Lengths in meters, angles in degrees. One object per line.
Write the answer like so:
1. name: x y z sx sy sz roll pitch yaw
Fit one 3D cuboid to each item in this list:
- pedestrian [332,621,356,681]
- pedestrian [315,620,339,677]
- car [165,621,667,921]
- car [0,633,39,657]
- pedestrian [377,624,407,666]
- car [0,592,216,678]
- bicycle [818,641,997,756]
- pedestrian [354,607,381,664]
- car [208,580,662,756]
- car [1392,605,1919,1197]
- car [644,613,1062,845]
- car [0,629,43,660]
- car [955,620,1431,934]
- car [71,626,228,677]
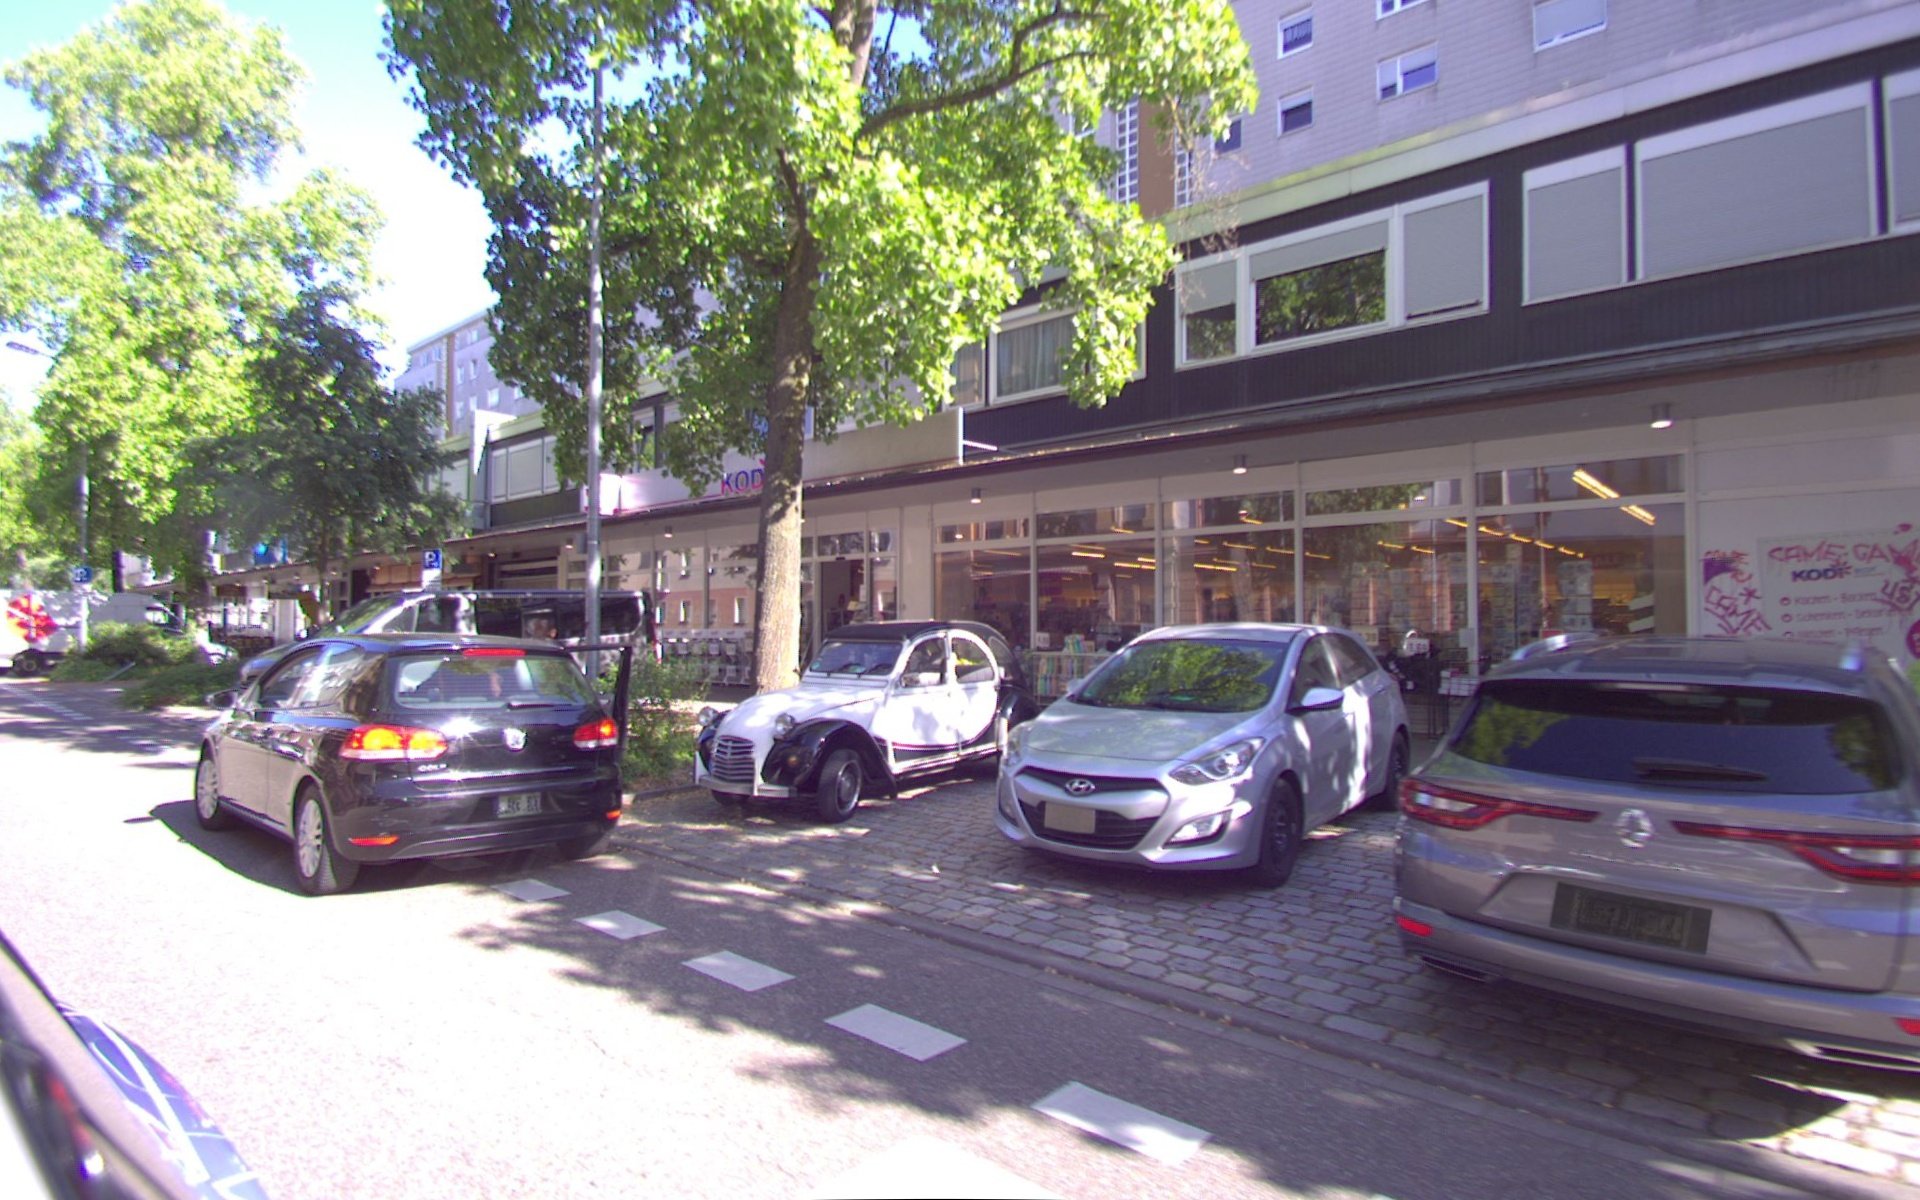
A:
1. pedestrian: -20.284 1.661 33.334 0.590 1.950 0.589 1 -2 -27
2. pedestrian: -19.358 1.469 30.946 0.577 1.725 0.602 1 -2 -33
3. car: -3.872 0.897 6.909 3.959 1.449 1.744 -1 -3 42
4. car: -57.221 2.656 59.801 1.758 1.409 3.947 -2 -2 39
5. pedestrian: -18.775 1.479 33.425 0.953 1.351 0.558 -2 -2 39
6. car: -27.547 1.068 31.924 1.985 2.493 6.559 -1 -1 20
7. bicycle: -0.601 1.101 11.733 1.953 1.193 0.630 -1 -1 -23
8. pedestrian: -20.018 1.192 34.207 0.579 1.918 0.588 -2 -3 40
9. car: -6.998 0.796 14.047 2.014 1.989 5.237 -2 -1 41
10. car: 3.617 0.794 4.469 1.762 1.471 4.257 -2 -1 43
11. car: -0.752 0.912 8.864 1.681 1.564 3.565 -1 -1 37
12. car: -64.075 2.950 66.898 1.908 1.984 4.932 -2 -1 40
13. car: 1.865 0.904 7.038 1.809 1.474 3.951 -2 -1 36
14. car: -25.105 1.554 31.424 1.830 1.431 3.556 -2 -2 41
